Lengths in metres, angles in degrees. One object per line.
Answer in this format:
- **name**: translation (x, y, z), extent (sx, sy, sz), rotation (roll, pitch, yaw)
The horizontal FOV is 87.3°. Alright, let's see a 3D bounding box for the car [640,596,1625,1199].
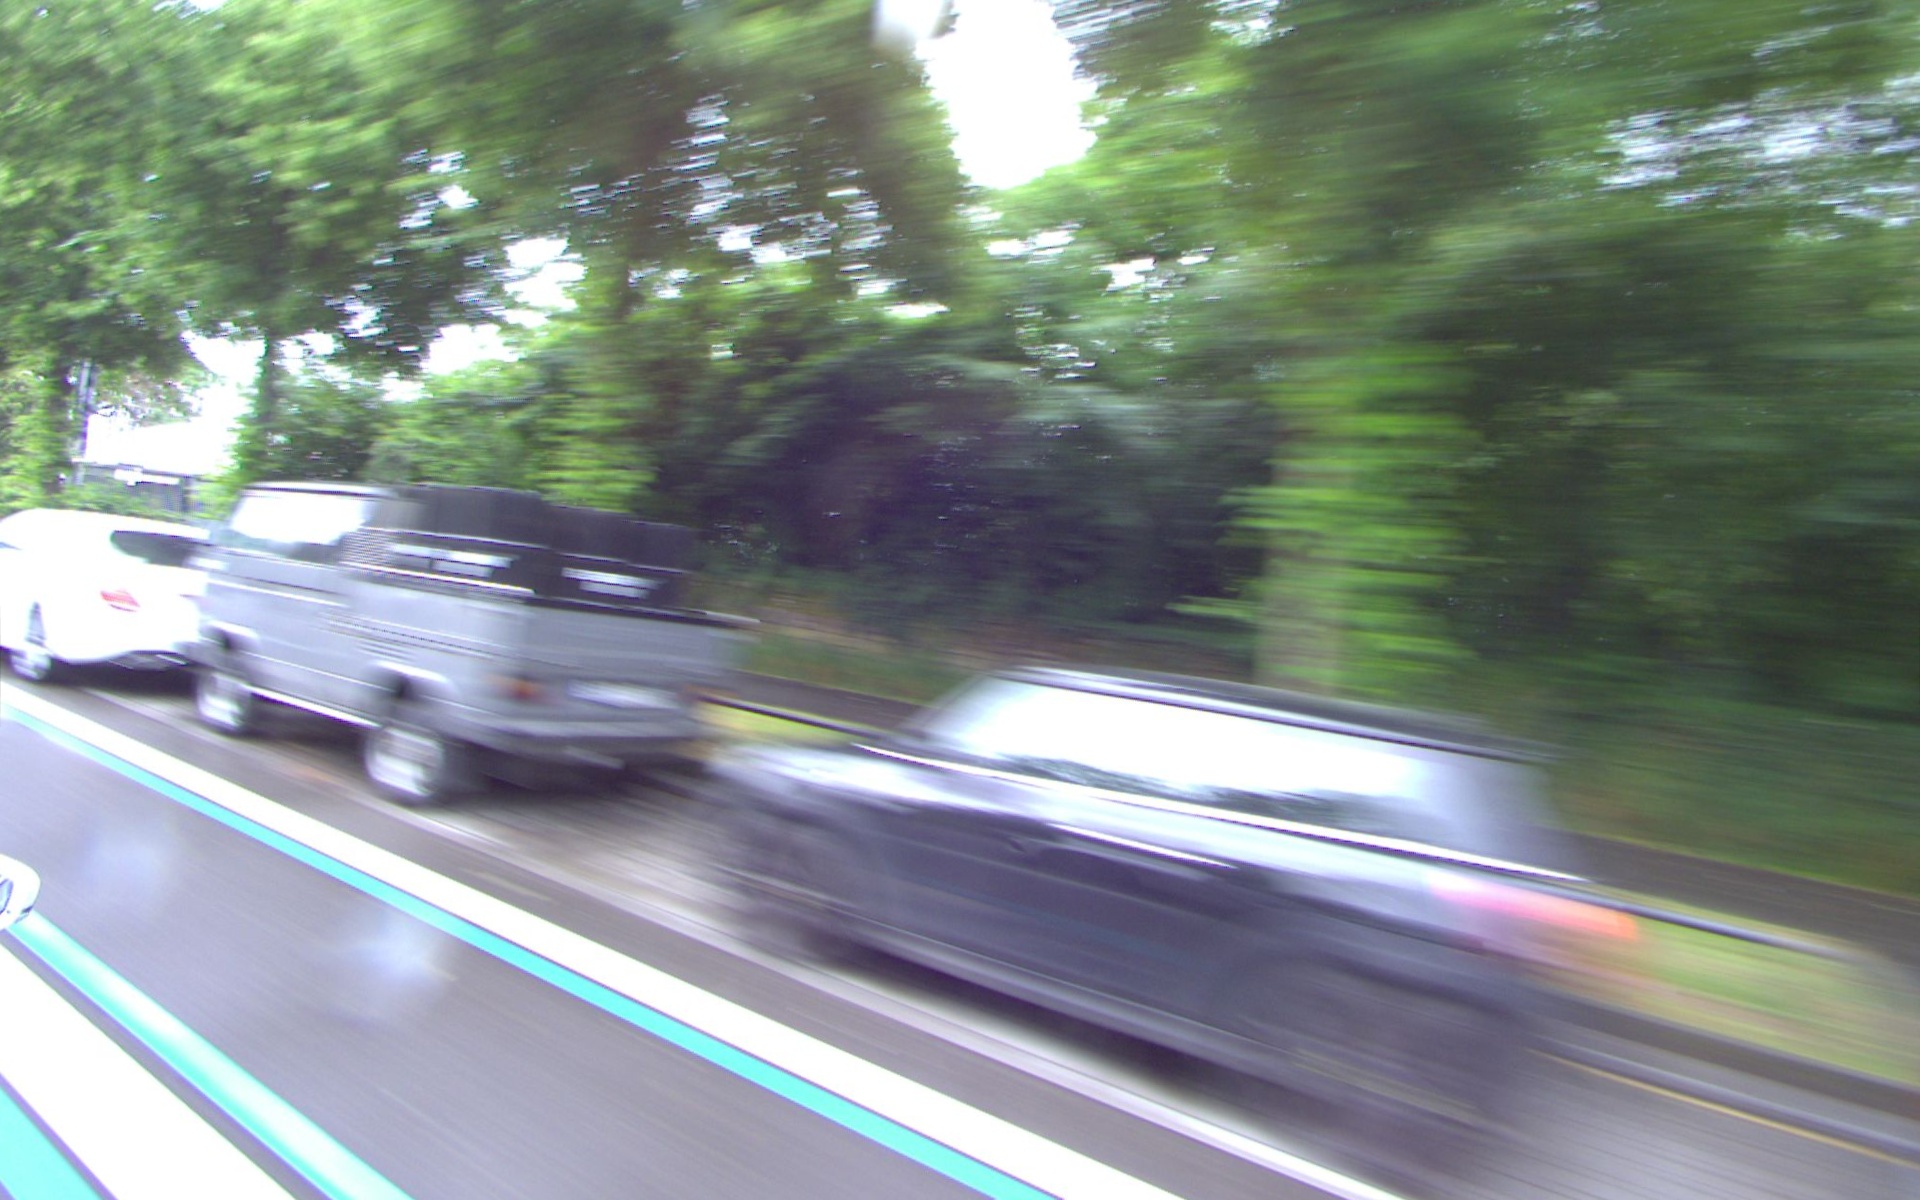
- **car**: translation (0.575, 0.988, 4.410), extent (3.684, 1.469, 1.609), rotation (7, -2, 31)

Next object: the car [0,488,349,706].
- **car**: translation (-8.247, -0.134, 9.686), extent (4.806, 1.560, 1.794), rotation (7, -2, 29)

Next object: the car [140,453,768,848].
- **car**: translation (-3.900, 0.179, 7.498), extent (4.587, 2.046, 1.929), rotation (7, -1, 32)

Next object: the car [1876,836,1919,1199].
- **car**: translation (4.642, 1.472, 1.764), extent (4.096, 1.469, 1.690), rotation (7, -2, 31)
